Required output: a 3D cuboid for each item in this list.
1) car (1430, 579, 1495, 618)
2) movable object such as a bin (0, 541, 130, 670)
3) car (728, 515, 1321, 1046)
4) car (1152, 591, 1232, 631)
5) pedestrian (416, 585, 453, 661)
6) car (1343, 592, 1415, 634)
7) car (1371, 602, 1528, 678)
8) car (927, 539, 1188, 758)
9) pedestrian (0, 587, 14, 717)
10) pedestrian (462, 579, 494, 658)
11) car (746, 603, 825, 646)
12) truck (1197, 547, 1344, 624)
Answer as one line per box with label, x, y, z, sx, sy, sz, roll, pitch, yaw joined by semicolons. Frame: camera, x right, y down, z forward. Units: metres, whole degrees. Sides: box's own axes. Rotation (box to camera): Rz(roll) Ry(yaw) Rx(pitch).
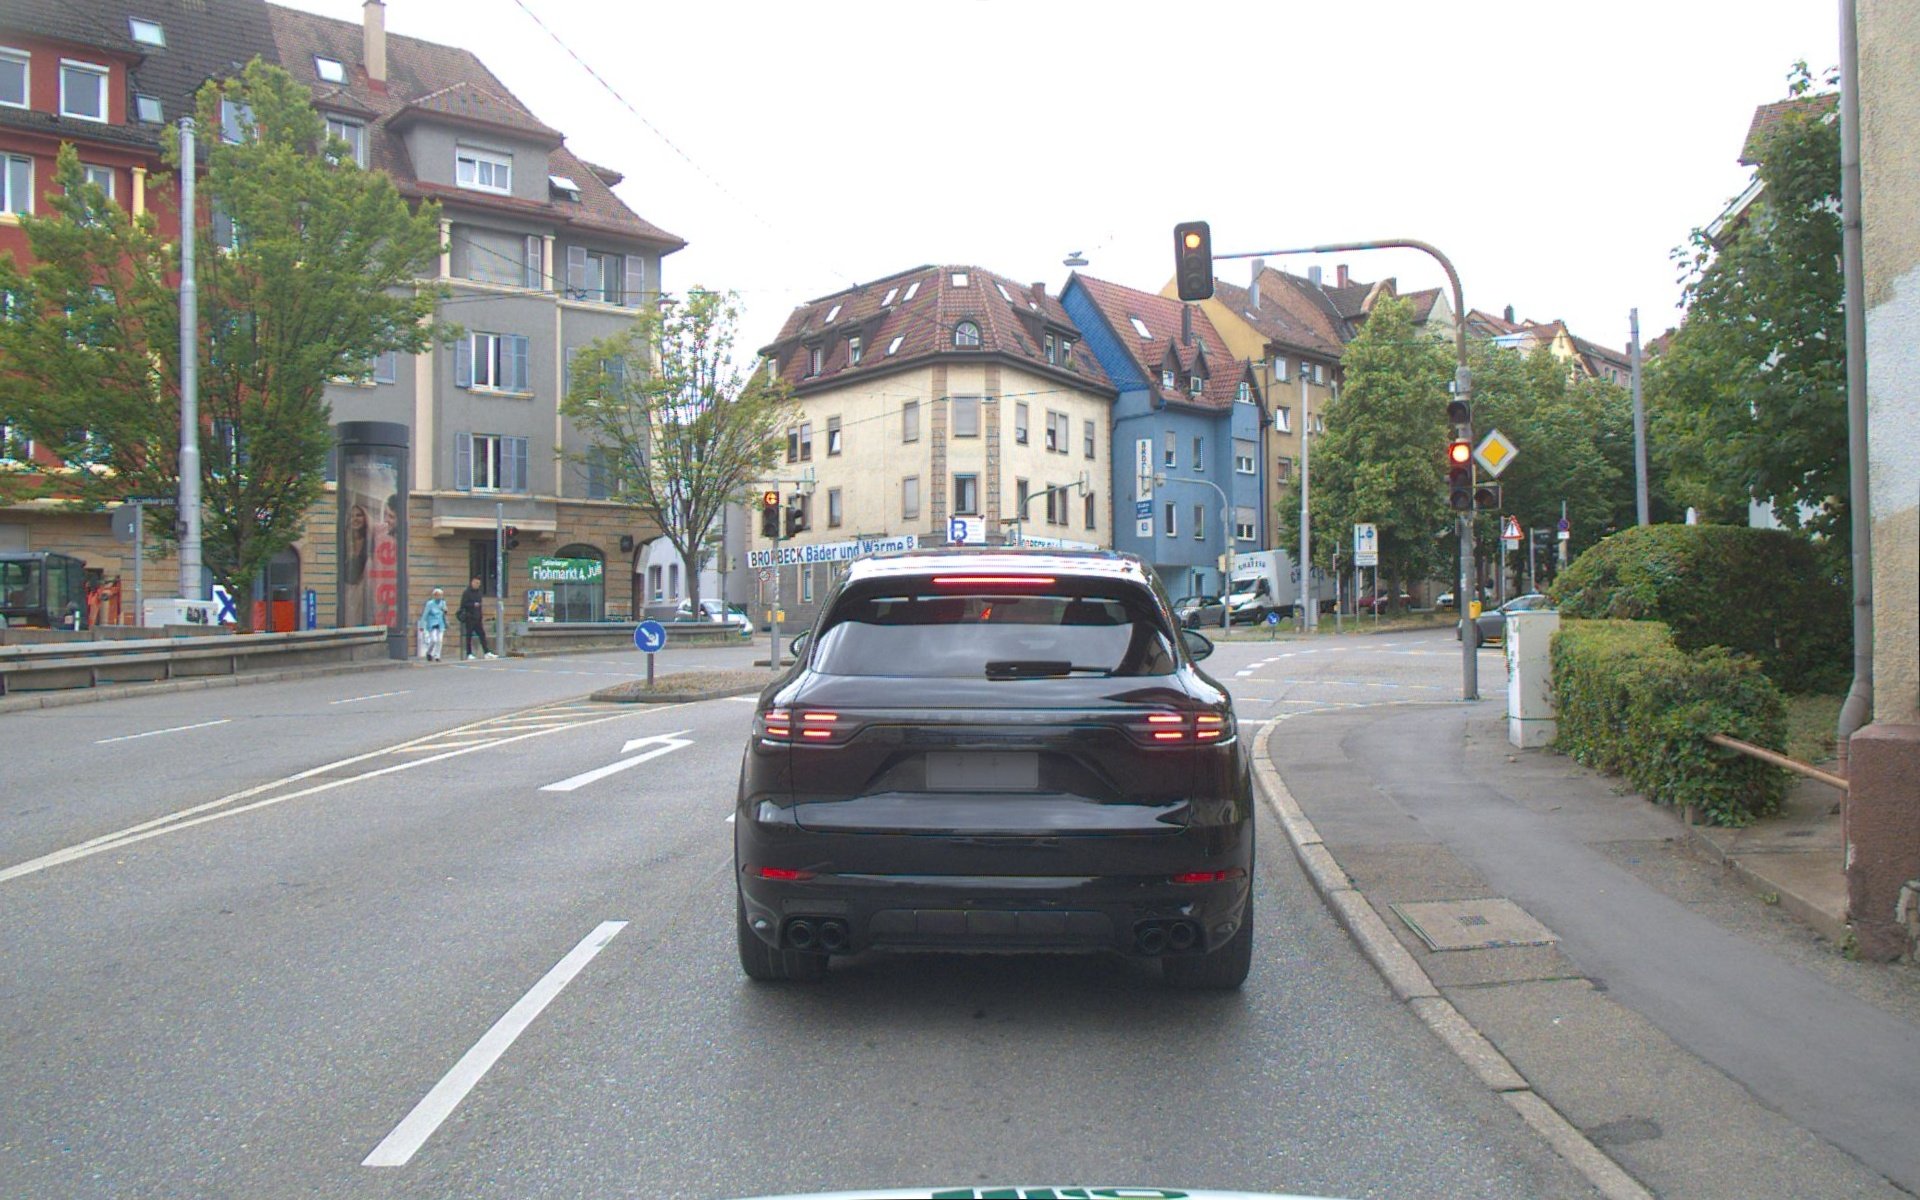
car;28.459;-0.100;93.644;1.965;2.049;3.975;2;0;42
movable object such as a bin;-14.271;0.051;25.327;1.870;1.802;3.986;2;0;-14
car;0.100;0.555;7.392;1.939;1.713;3.997;0;1;-4
car;10.142;0.469;72.026;1.958;1.713;3.988;0;0;33
pedestrian;-11.279;0.496;35.486;0.577;1.594;0.486;2;-1;-1
car;21.915;0.699;86.465;1.965;2.049;3.975;2;0;42
car;13.923;1.105;47.211;1.977;2.049;3.951;2;-1;-35
car;1.034;0.383;15.073;1.951;1.713;4.003;0;0;10
pedestrian;-13.275;0.698;22.568;0.537;1.760;0.586;2;-1;-35
pedestrian;-10.827;0.418;37.173;0.503;1.760;0.451;2;-1;1
car;-6.658;0.934;63.487;1.848;1.607;3.973;-1;-1;12
truck;14.857;-0.645;78.634;2.830;3.398;8.744;2;0;41
